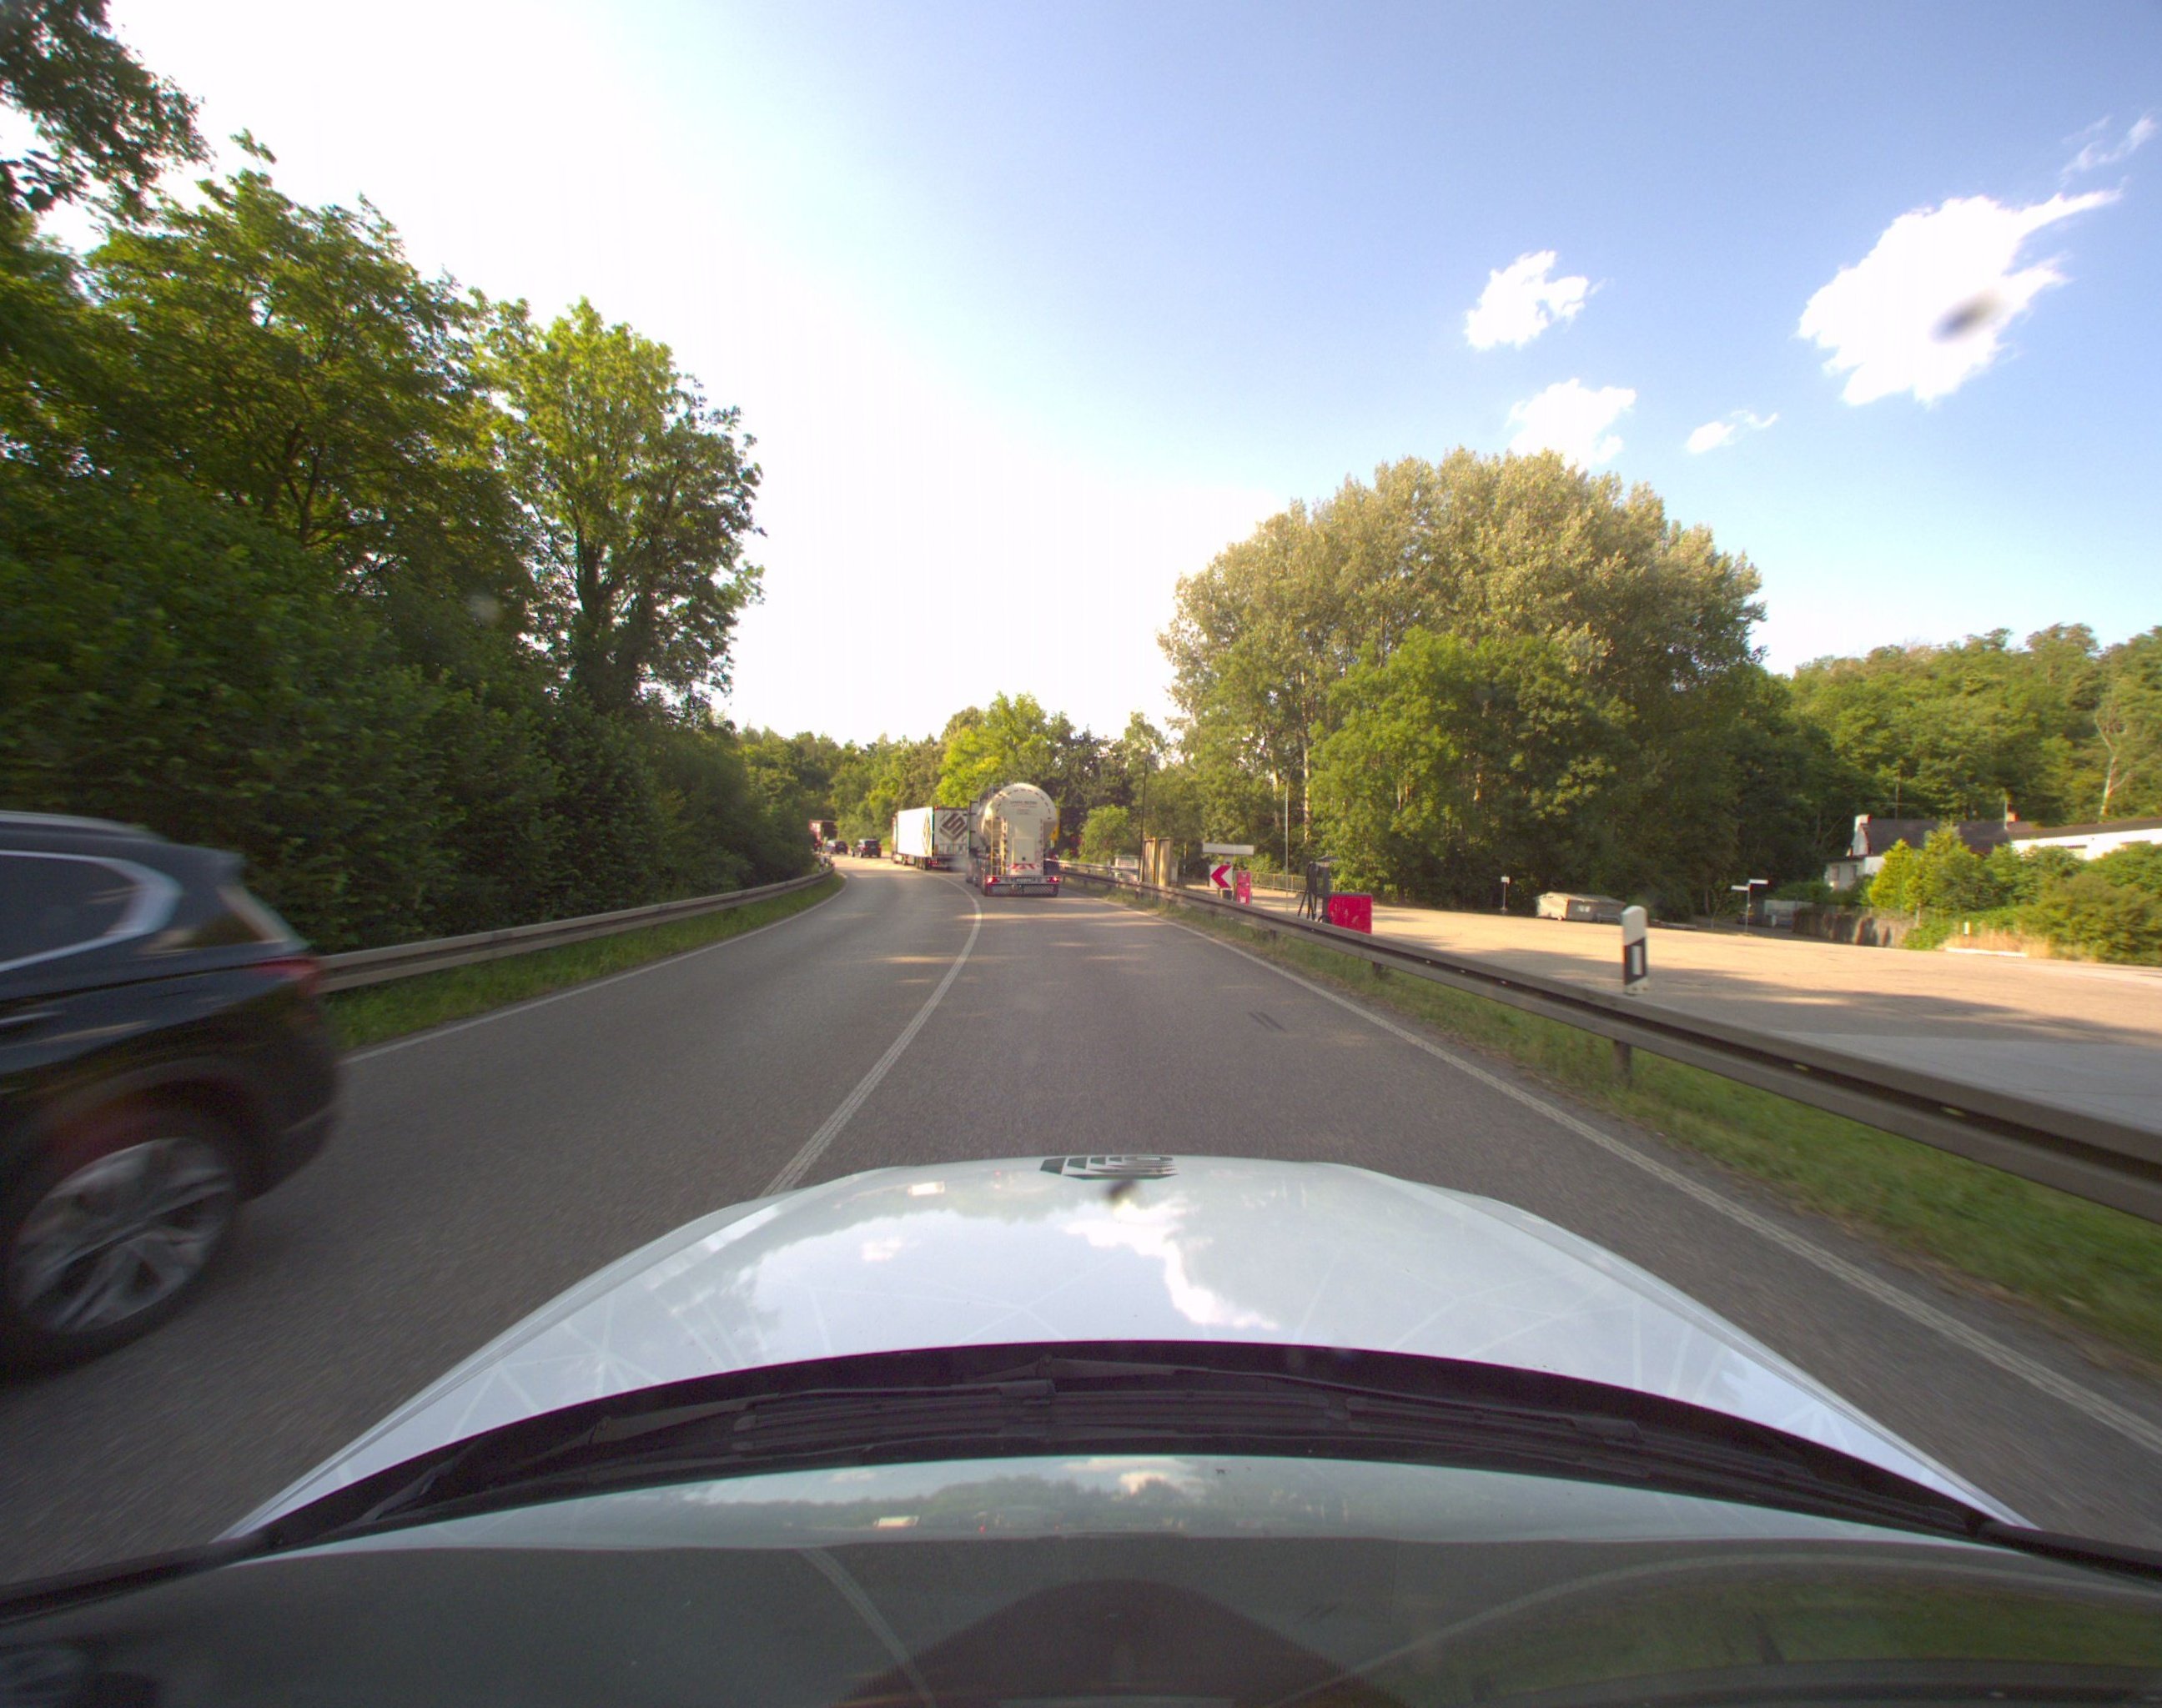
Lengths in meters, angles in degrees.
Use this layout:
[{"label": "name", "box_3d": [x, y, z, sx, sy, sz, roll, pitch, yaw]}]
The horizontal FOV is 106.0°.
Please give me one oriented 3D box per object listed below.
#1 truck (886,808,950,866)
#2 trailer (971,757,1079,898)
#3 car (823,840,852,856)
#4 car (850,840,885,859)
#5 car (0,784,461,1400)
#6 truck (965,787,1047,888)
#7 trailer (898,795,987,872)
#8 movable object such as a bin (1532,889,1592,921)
[{"label": "truck", "box_3d": [-12.558, -1.252, 62.463, 3.465, 4.086, 6.441, 2, 0, -23]}, {"label": "trailer", "box_3d": [-2.437, -0.873, 31.285, 2.887, 4.454, 9.571, 3, 0, -11]}, {"label": "car", "box_3d": [-25.297, -0.653, 84.381, 1.880, 1.564, 3.960, -1, 1, -33]}, {"label": "car", "box_3d": [-20.024, -0.453, 76.323, 1.881, 1.628, 3.959, 2, 0, -34]}, {"label": "car", "box_3d": [-3.823, 0.654, 1.548, 1.862, 1.653, 4.546, -1, 1, -2]}, {"label": "truck", "box_3d": [-3.505, -0.684, 36.508, 2.826, 4.035, 5.870, 3, 0, -12]}, {"label": "trailer", "box_3d": [-9.711, -1.280, 55.481, 3.558, 4.513, 12.896, 2, 0, -20]}, {"label": "movable object such as a bin", "box_3d": [25.373, 2.655, 43.034, 1.267, 1.420, 2.546, 5, -1, -13]}]
